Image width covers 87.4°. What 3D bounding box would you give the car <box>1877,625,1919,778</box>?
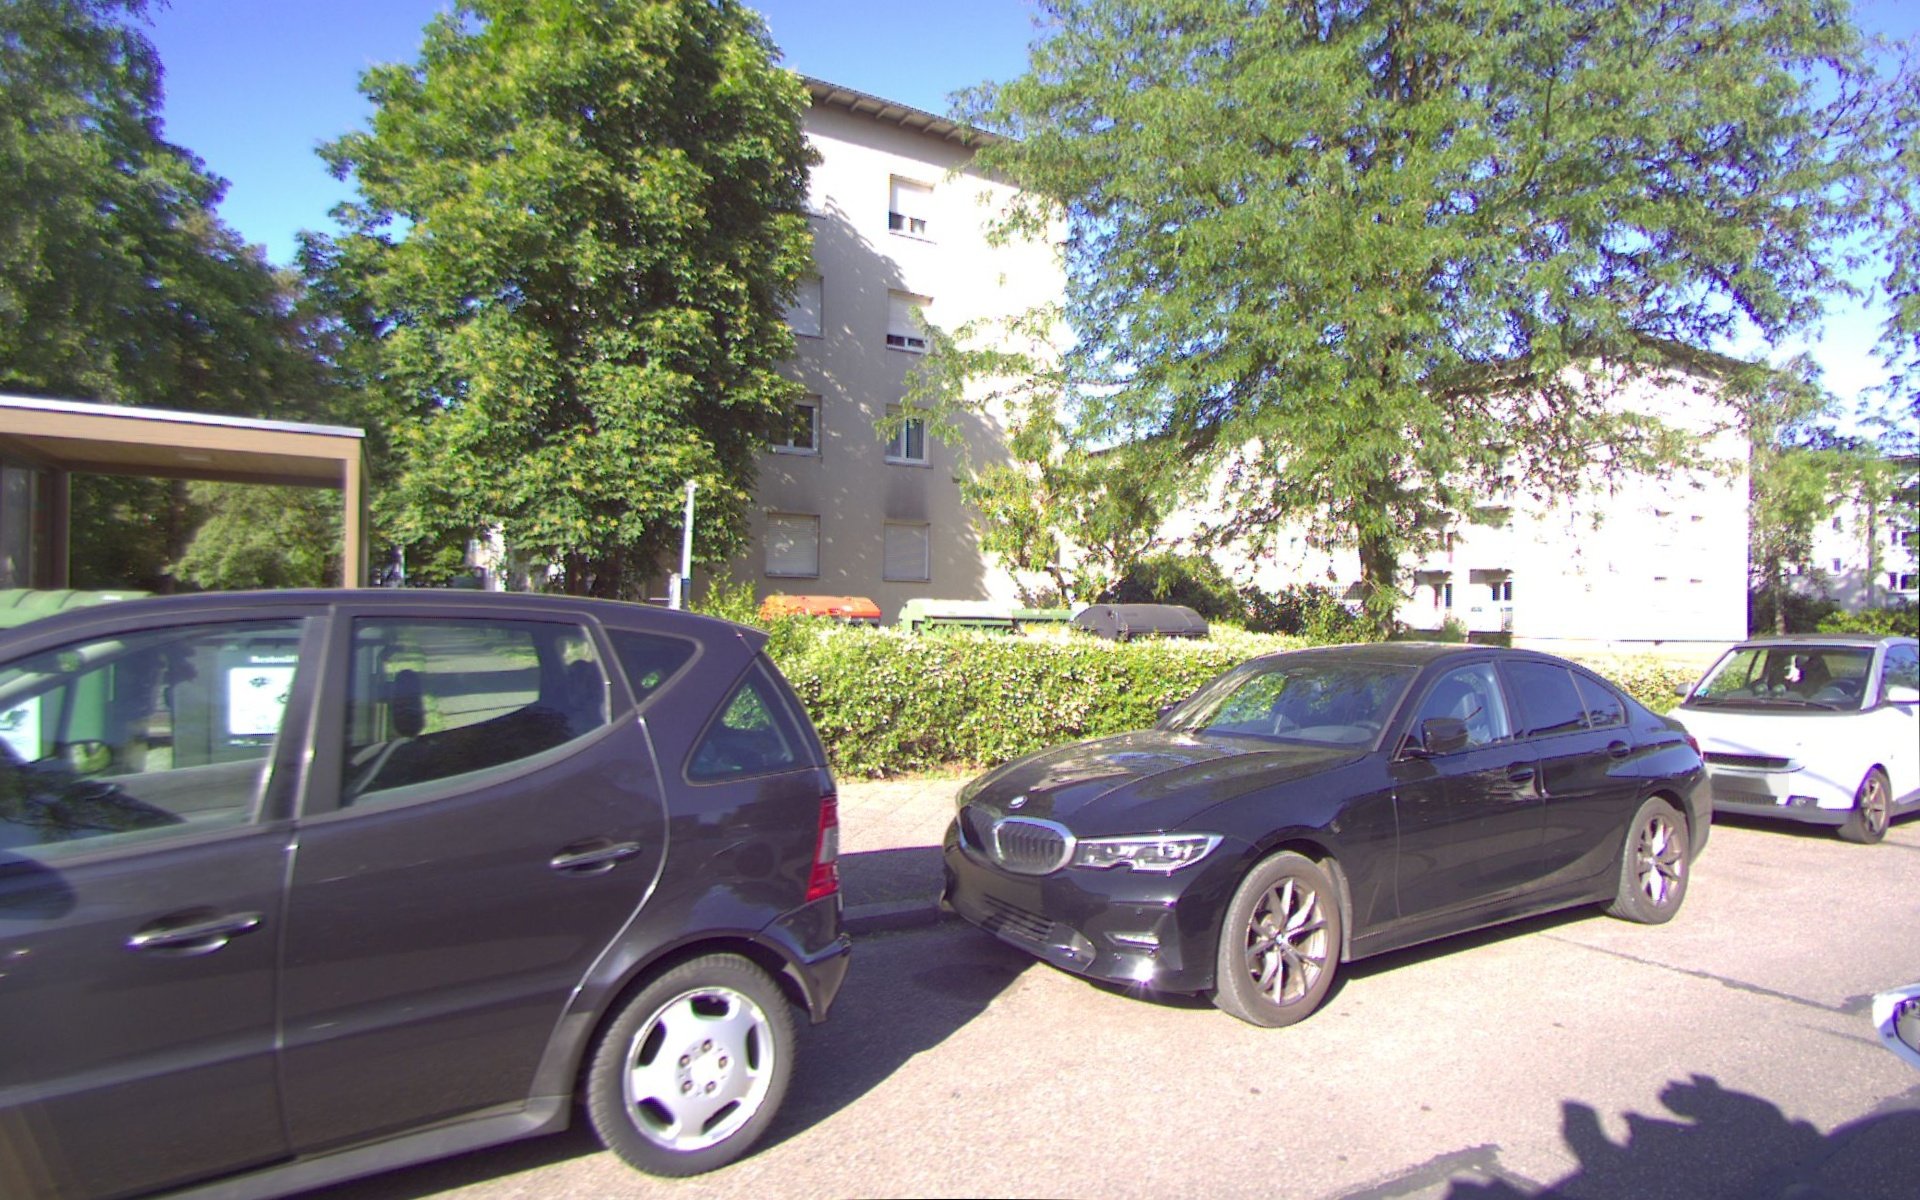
[{"bbox_3d":[12.184,1.102,11.180,3.920,1.627,1.747,1,-3,-29],"label":"car"}]

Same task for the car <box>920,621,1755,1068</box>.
[{"bbox_3d":[2.157,0.905,5.317,4.485,1.500,1.746,1,-3,-31],"label":"car"}]

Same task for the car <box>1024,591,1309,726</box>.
[{"bbox_3d":[2.977,0.770,14.238,3.955,1.663,1.562,1,0,-32],"label":"car"}]

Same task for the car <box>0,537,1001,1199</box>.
[{"bbox_3d":[-1.883,0.720,2.922,3.678,1.594,1.745,1,-3,-31],"label":"car"}]

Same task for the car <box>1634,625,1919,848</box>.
[{"bbox_3d":[7.393,1.034,8.565,3.103,1.595,1.439,1,-3,-28],"label":"car"}]

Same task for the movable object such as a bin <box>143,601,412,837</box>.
[{"bbox_3d":[-4.430,0.707,6.683,1.326,1.358,1.173,1,0,-28],"label":"movable object such as a bin"}]

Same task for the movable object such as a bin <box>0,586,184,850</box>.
[{"bbox_3d":[-5.543,0.638,5.925,1.327,1.427,1.172,1,0,-29],"label":"movable object such as a bin"}]

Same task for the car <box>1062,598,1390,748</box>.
[{"bbox_3d":[3.291,0.800,12.199,3.955,1.545,1.562,1,0,-32],"label":"car"}]
